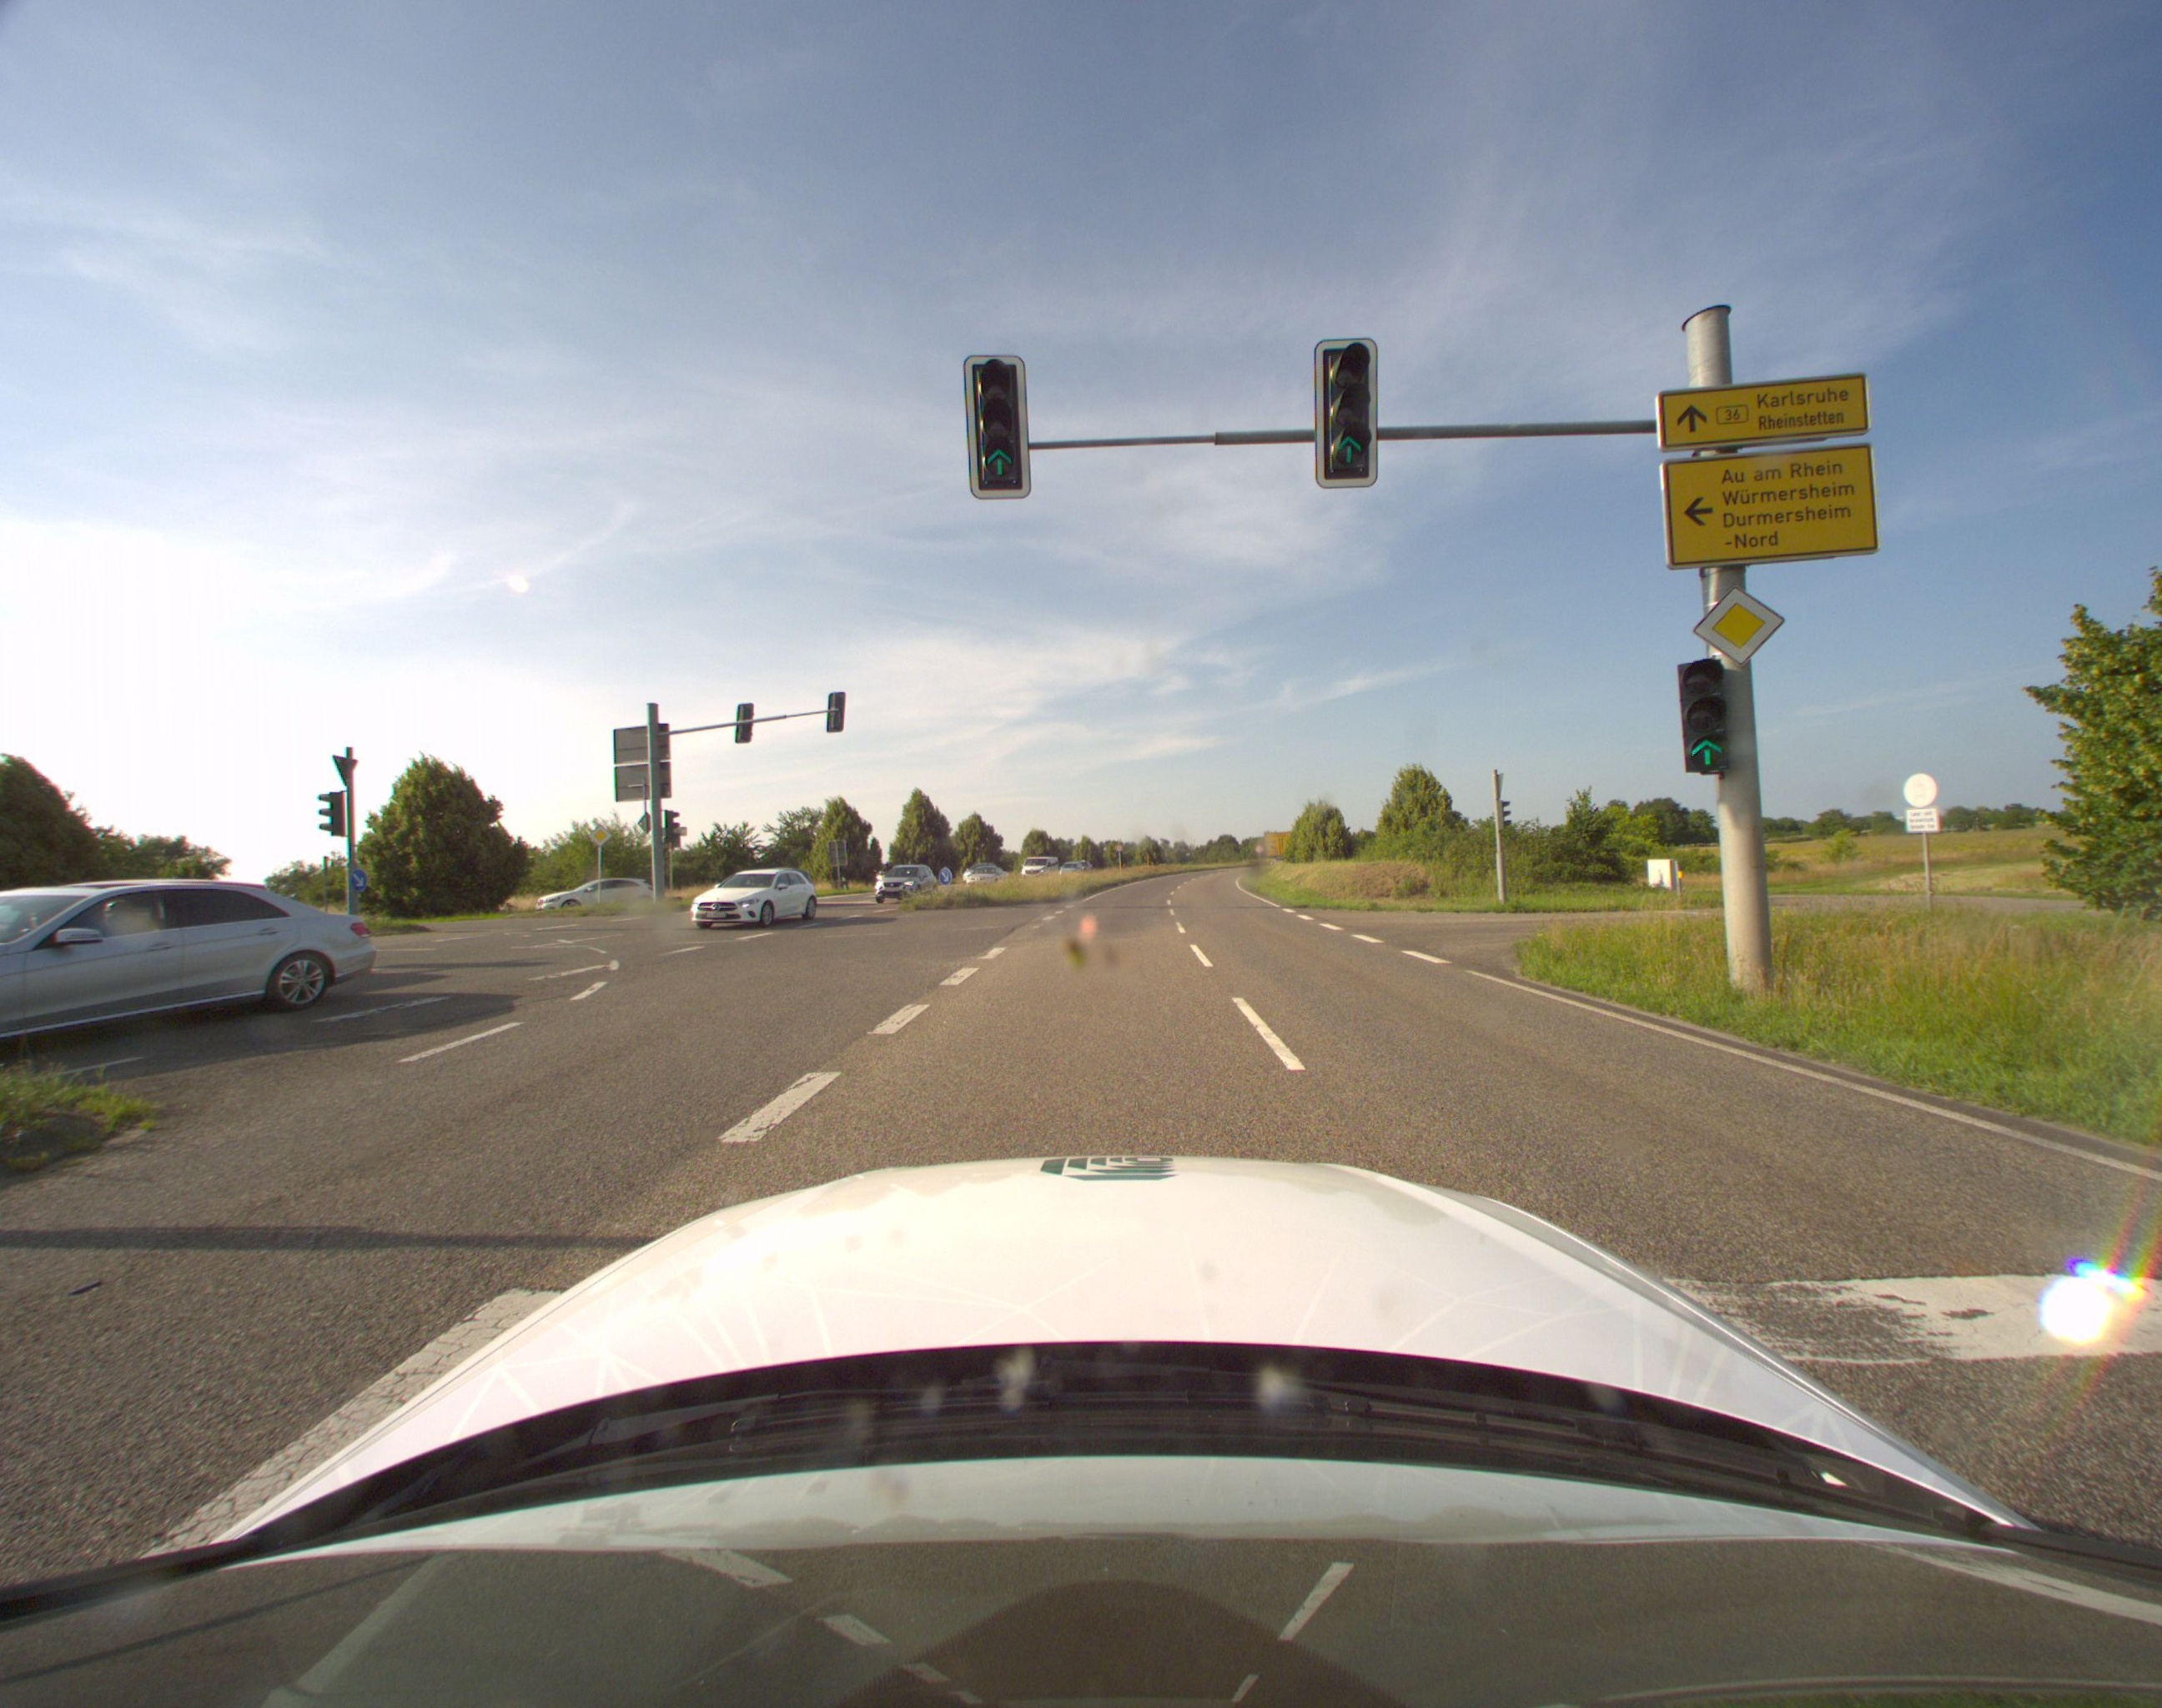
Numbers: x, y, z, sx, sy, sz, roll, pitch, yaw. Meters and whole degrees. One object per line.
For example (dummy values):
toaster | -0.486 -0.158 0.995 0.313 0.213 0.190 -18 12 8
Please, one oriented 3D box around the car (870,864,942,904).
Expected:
car | -7.218 1.214 34.026 1.677 1.523 4.099 -1 -1 6

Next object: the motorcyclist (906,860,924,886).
motorcyclist | -9.673 1.112 47.509 0.700 1.465 1.022 -1 -1 8

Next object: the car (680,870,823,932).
car | -8.612 1.168 21.736 1.721 1.413 4.400 -1 -1 5

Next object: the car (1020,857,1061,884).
car | -3.021 1.215 62.085 1.982 1.904 5.802 -1 -1 8

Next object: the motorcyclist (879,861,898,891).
motorcyclist | -9.907 1.139 41.935 0.694 1.503 0.897 -2 -1 4

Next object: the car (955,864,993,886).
car | -7.772 1.498 59.618 1.696 1.525 4.143 -1 -1 7

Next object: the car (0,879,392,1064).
car | -9.593 1.015 7.750 1.919 1.435 4.703 -2 -1 2

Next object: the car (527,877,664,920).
car | -19.957 1.774 33.631 1.928 1.535 4.474 -2 -1 41

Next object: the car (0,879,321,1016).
car | -12.773 1.118 10.707 1.653 1.467 4.025 -2 -1 3

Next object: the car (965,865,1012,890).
car | -5.361 1.352 47.879 1.685 1.353 4.462 -1 -1 8

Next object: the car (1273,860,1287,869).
car | 32.439 1.703 132.908 1.727 1.520 3.851 -2 -1 20

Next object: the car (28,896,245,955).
car | -30.271 2.245 26.310 4.143 1.587 1.908 -1 -1 -30

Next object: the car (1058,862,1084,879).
car | -0.877 1.437 72.359 1.669 1.443 3.761 -1 -1 9

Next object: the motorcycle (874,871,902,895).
motorcycle | -9.899 1.470 41.897 0.698 1.138 2.280 -1 -1 5
